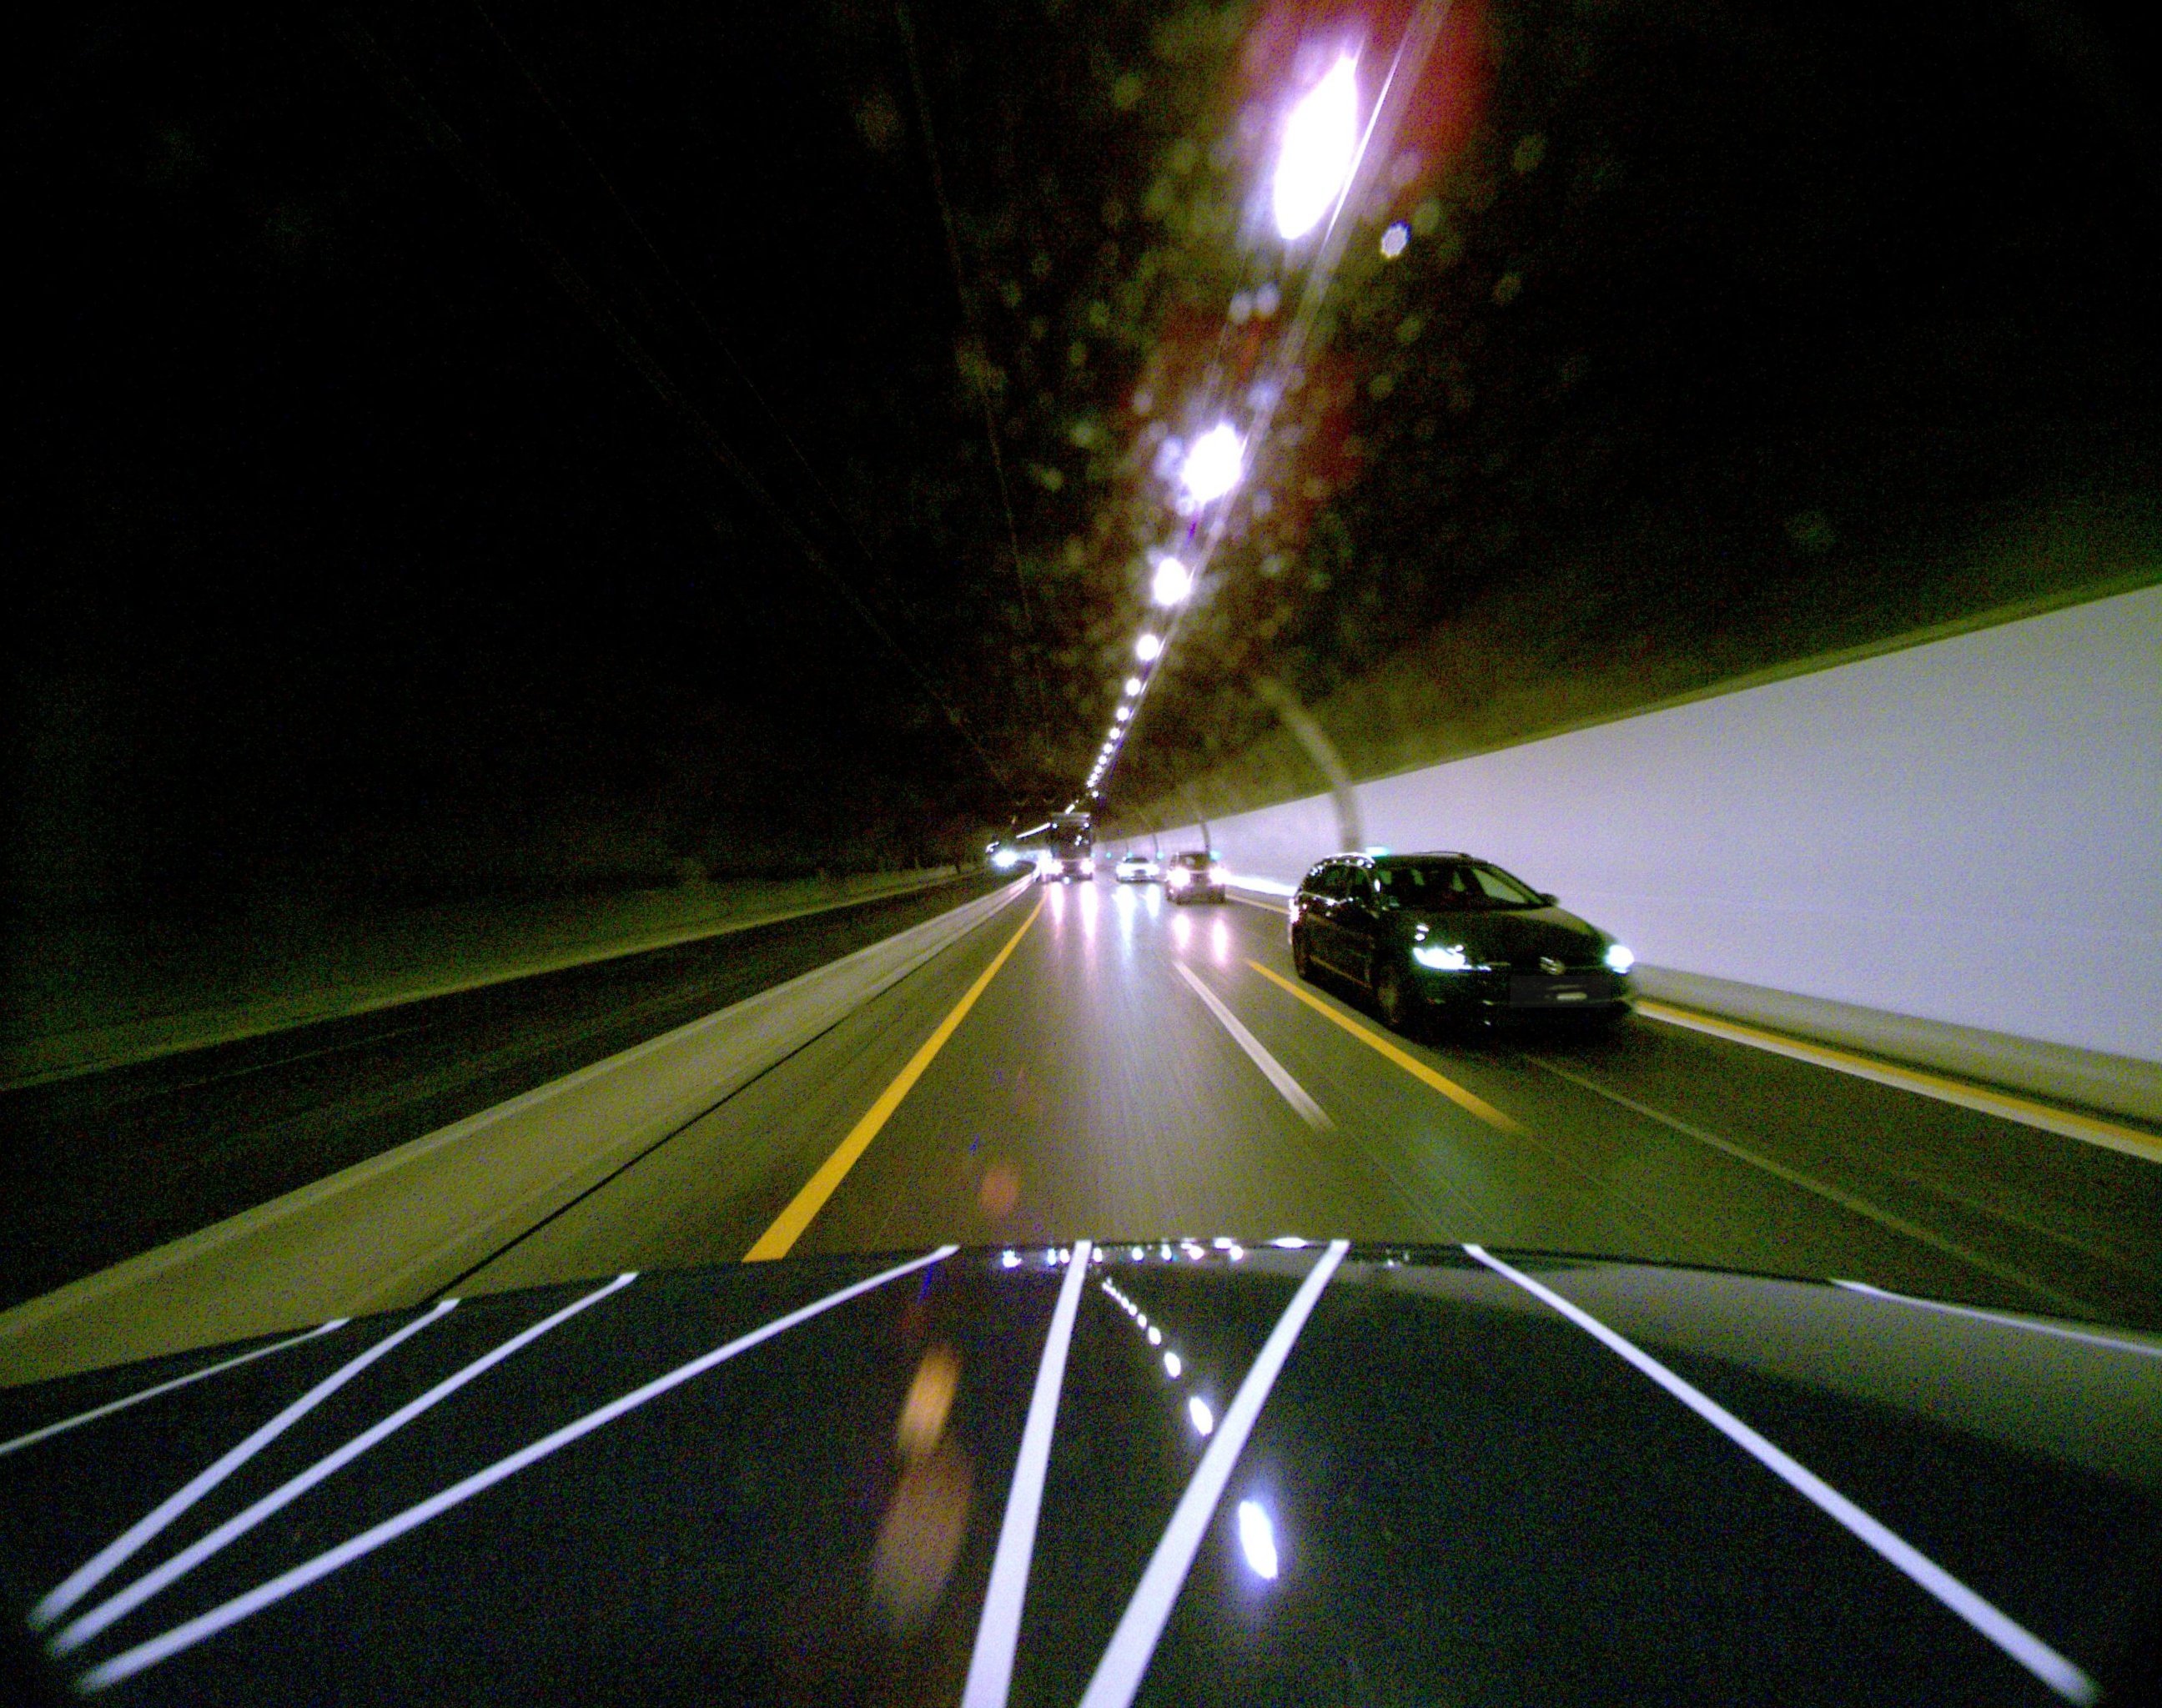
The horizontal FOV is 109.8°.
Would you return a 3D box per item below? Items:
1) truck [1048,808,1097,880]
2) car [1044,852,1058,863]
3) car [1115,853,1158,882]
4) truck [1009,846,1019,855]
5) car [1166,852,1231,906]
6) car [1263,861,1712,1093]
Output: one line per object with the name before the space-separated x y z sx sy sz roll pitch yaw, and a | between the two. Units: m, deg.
truck | -0.563 -0.594 48.677 2.742 4.127 8.099 -2 0 -1
car | -4.573 0.465 114.347 1.999 1.524 3.998 -2 0 -4
car | 2.907 0.664 40.594 1.909 1.412 4.060 -2 0 -2
truck | -21.303 -0.977 240.817 2.611 2.723 6.393 -2 0 -8
car | 3.534 0.712 23.215 1.531 1.508 2.651 -2 0 0
car | 3.315 0.848 7.530 1.782 1.430 4.882 -2 0 0
